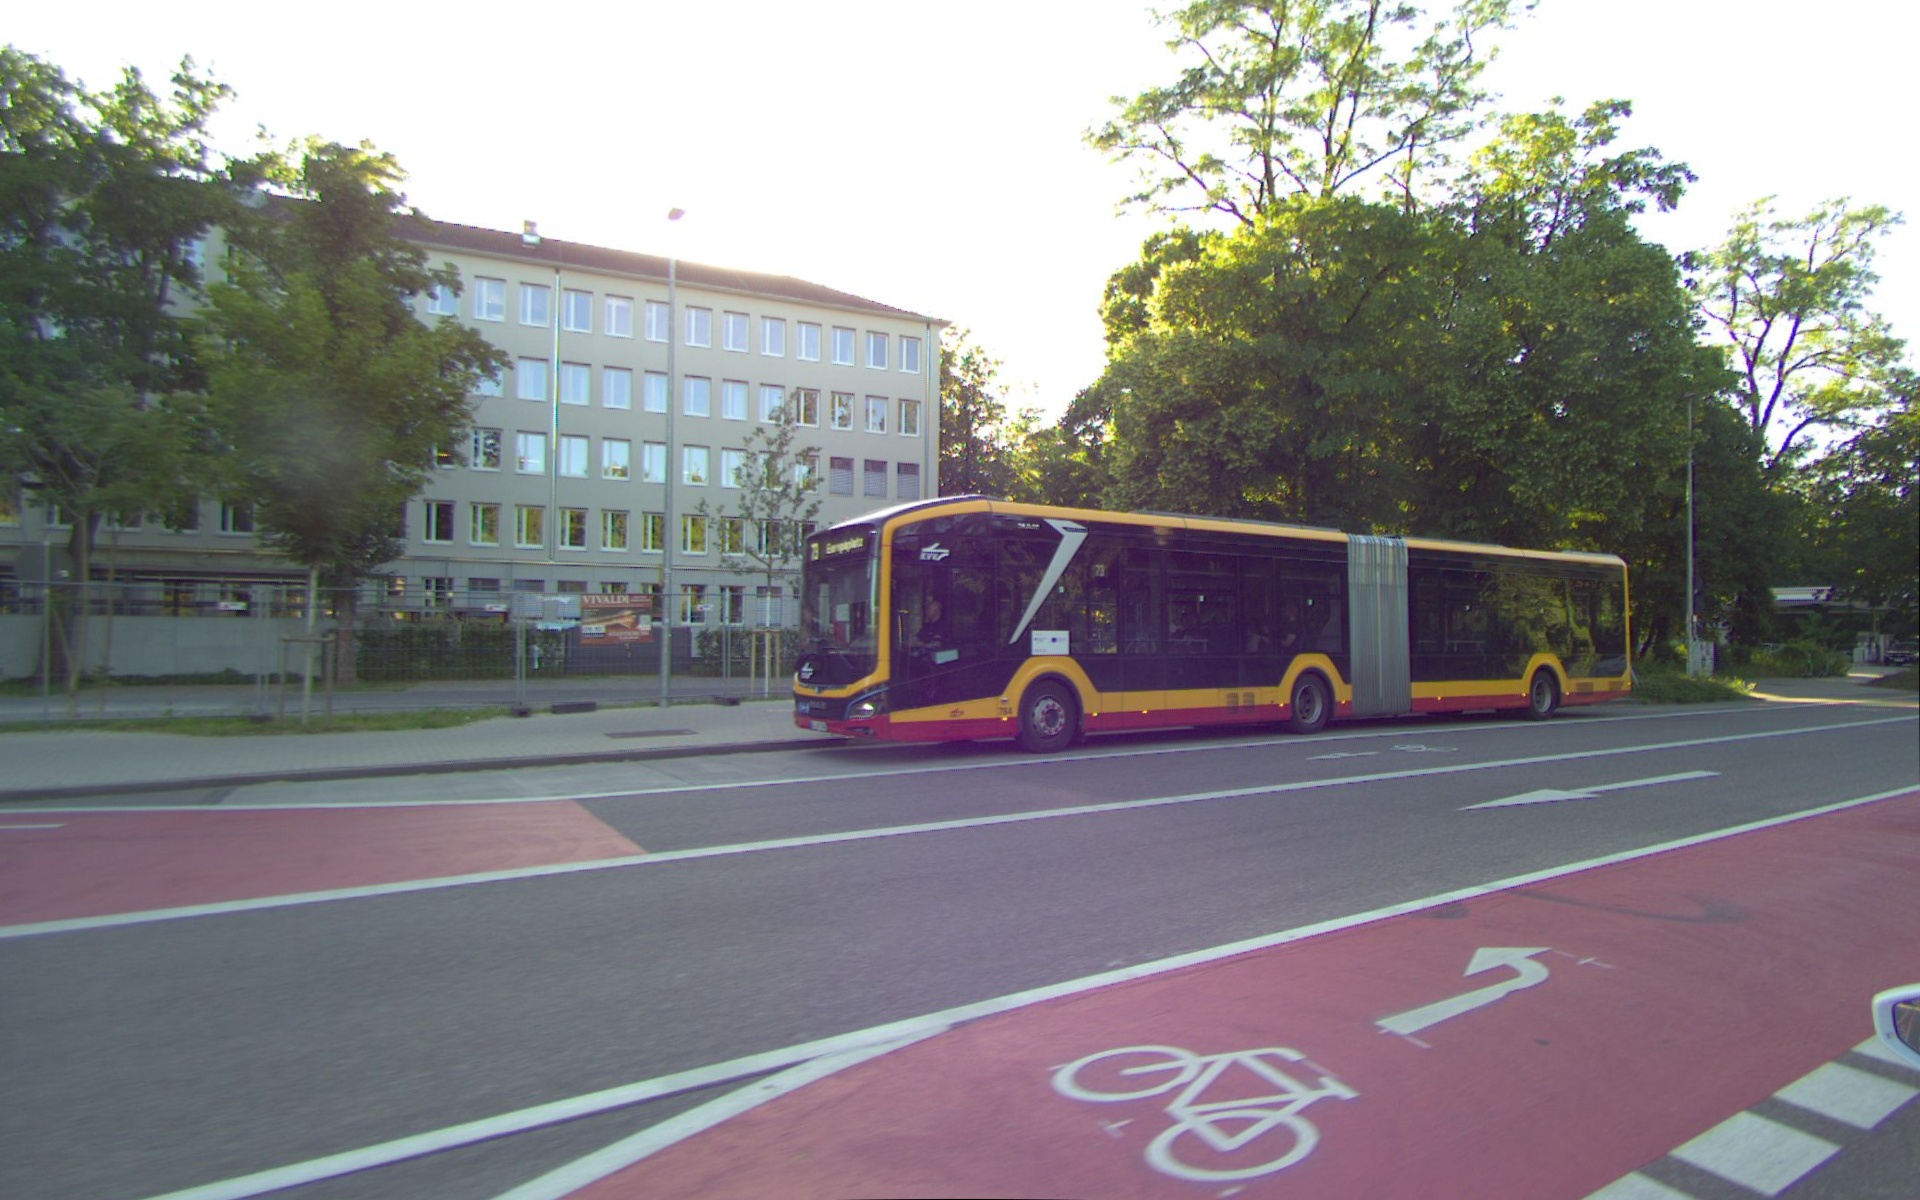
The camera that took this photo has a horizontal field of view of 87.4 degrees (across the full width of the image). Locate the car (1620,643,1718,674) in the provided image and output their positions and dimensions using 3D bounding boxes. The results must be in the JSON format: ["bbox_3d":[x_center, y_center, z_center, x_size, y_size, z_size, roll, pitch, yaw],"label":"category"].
[{"bbox_3d":[32.975,2.746,46.781,3.423,1.418,1.563,0,-4,-1],"label":"car"}]

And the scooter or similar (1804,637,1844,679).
[{"bbox_3d":[36.232,2.416,42.120,1.722,1.739,0.823,2,-2,-33],"label":"scooter or similar"}]

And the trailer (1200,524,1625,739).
[{"bbox_3d":[9.060,0.621,19.533,9.259,3.400,2.839,2,0,-32],"label":"trailer"}]

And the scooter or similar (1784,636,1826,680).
[{"bbox_3d":[34.597,2.355,41.111,1.722,1.739,0.823,2,-2,-33],"label":"scooter or similar"}]

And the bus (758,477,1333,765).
[{"bbox_3d":[1.581,0.381,14.816,8.506,3.238,2.825,2,-2,-33],"label":"bus"}]

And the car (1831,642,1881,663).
[{"bbox_3d":[66.112,3.840,74.126,4.530,1.518,1.700,2,-2,-34],"label":"car"}]

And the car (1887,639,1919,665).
[{"bbox_3d":[64.481,3.490,68.107,4.413,1.713,1.698,2,-3,-38],"label":"car"}]

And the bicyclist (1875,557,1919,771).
[{"bbox_3d":[7.584,0.484,7.500,0.870,1.588,0.856,1,0,-28],"label":"bicyclist"}]

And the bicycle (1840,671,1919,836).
[{"bbox_3d":[7.624,1.116,7.507,2.109,1.110,0.887,1,0,-28],"label":"bicycle"}]
